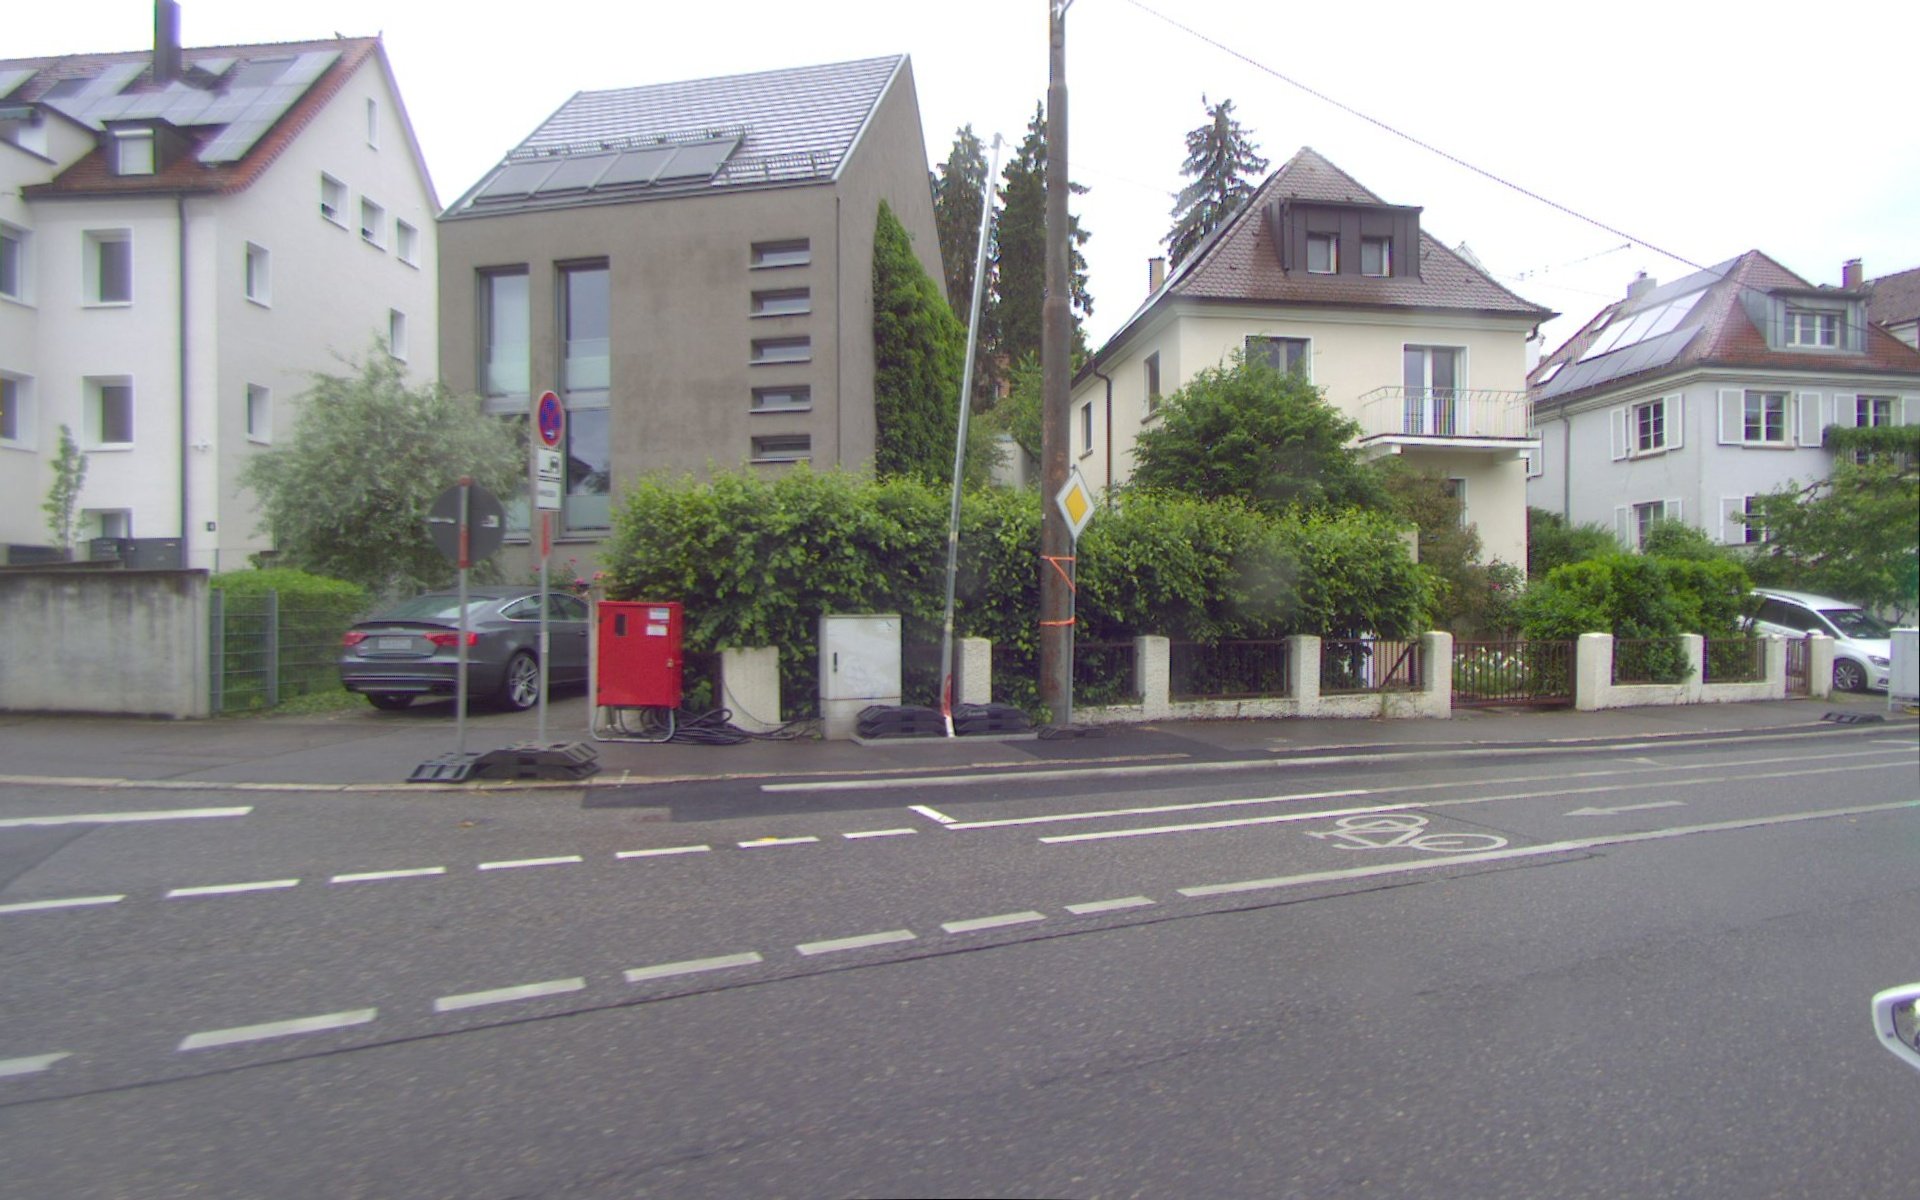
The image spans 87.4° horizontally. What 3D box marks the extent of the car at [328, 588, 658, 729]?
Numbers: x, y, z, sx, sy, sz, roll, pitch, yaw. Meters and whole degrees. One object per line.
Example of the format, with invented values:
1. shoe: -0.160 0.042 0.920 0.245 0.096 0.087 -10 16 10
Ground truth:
1. car: -5.456 0.566 12.437 1.581 1.387 4.265 0 1 9

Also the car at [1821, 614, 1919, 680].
1. car: 23.905 1.169 24.533 1.908 1.546 3.988 2 0 -14

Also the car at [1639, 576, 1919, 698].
1. car: 17.859 0.670 21.928 1.832 1.639 4.963 0 10 -13
